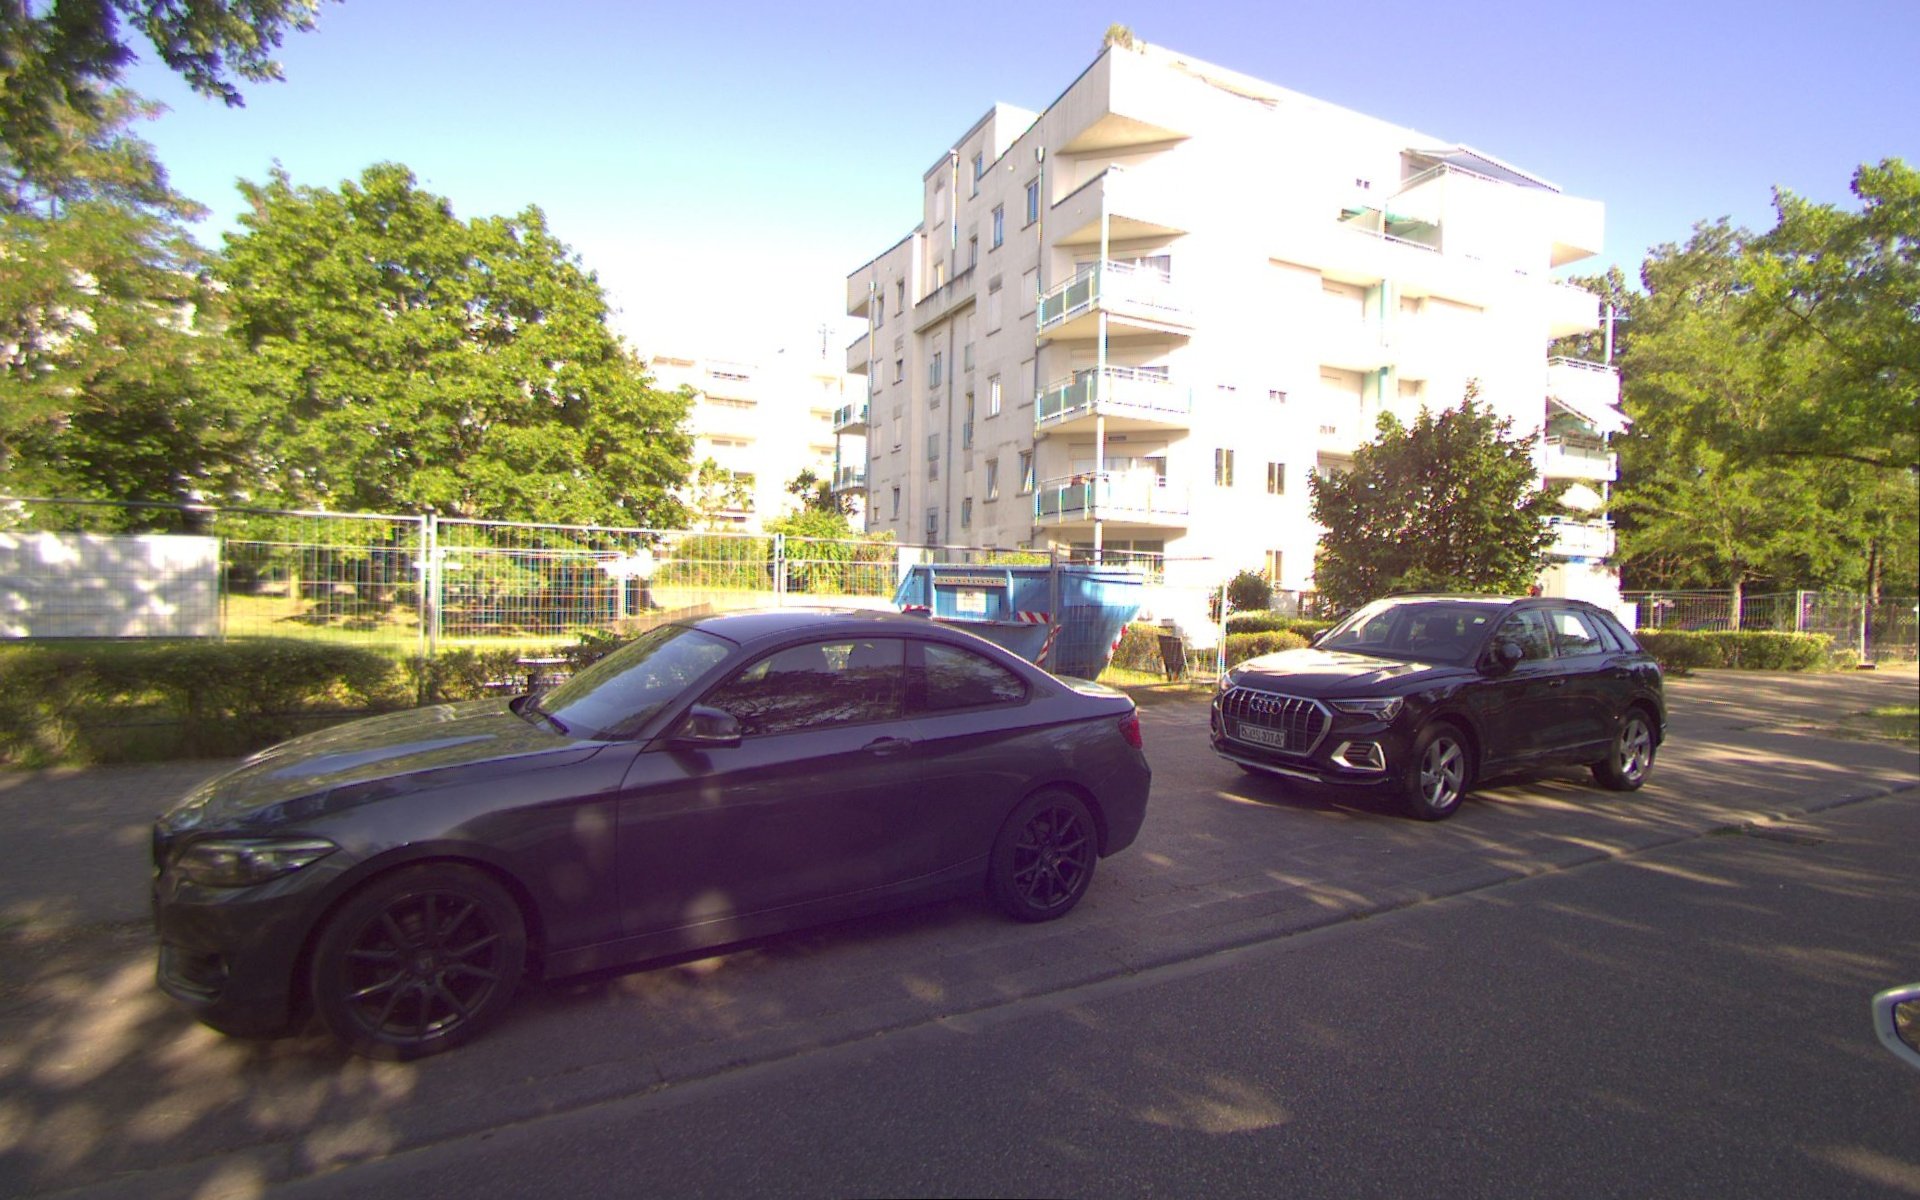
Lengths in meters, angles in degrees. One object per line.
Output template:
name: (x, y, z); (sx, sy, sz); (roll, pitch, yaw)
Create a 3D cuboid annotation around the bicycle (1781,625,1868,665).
bicycle: (24.556, 1.259, 28.554); (0.398, 1.040, 1.820); (2, 0, -43)

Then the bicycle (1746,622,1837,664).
bicycle: (22.619, 1.154, 27.349); (0.398, 1.040, 1.851); (2, 0, -43)

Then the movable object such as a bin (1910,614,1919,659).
movable object such as a bin: (31.924, 1.195, 32.440); (1.300, 1.454, 1.273); (1, 0, -2)

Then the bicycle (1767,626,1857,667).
bicycle: (23.478, 1.258, 27.716); (0.398, 1.040, 1.837); (2, 0, -43)

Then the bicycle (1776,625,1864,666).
bicycle: (23.891, 1.258, 27.936); (0.398, 1.040, 1.820); (2, 0, -43)

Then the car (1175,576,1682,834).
car: (3.975, 0.697, 8.359); (4.172, 1.643, 1.766); (1, 2, -31)

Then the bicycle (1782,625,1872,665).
bicycle: (24.900, 1.274, 28.877); (0.398, 1.040, 1.896); (2, 0, -43)

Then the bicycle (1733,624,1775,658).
bicycle: (24.677, 1.274, 31.205); (1.680, 1.040, 0.397); (2, 0, -29)

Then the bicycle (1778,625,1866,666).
bicycle: (24.235, 1.264, 28.273); (0.398, 1.040, 1.841); (2, 0, -43)

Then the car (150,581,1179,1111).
car: (-1.055, 0.708, 4.691); (4.095, 1.452, 1.705); (1, 2, -35)

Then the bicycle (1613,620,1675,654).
bicycle: (22.434, 1.201, 32.981); (0.395, 1.040, 1.690); (2, 0, -24)

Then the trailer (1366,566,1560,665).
trailer: (11.842, 0.353, 23.628); (4.290, 2.149, 1.856); (1, 2, -27)
